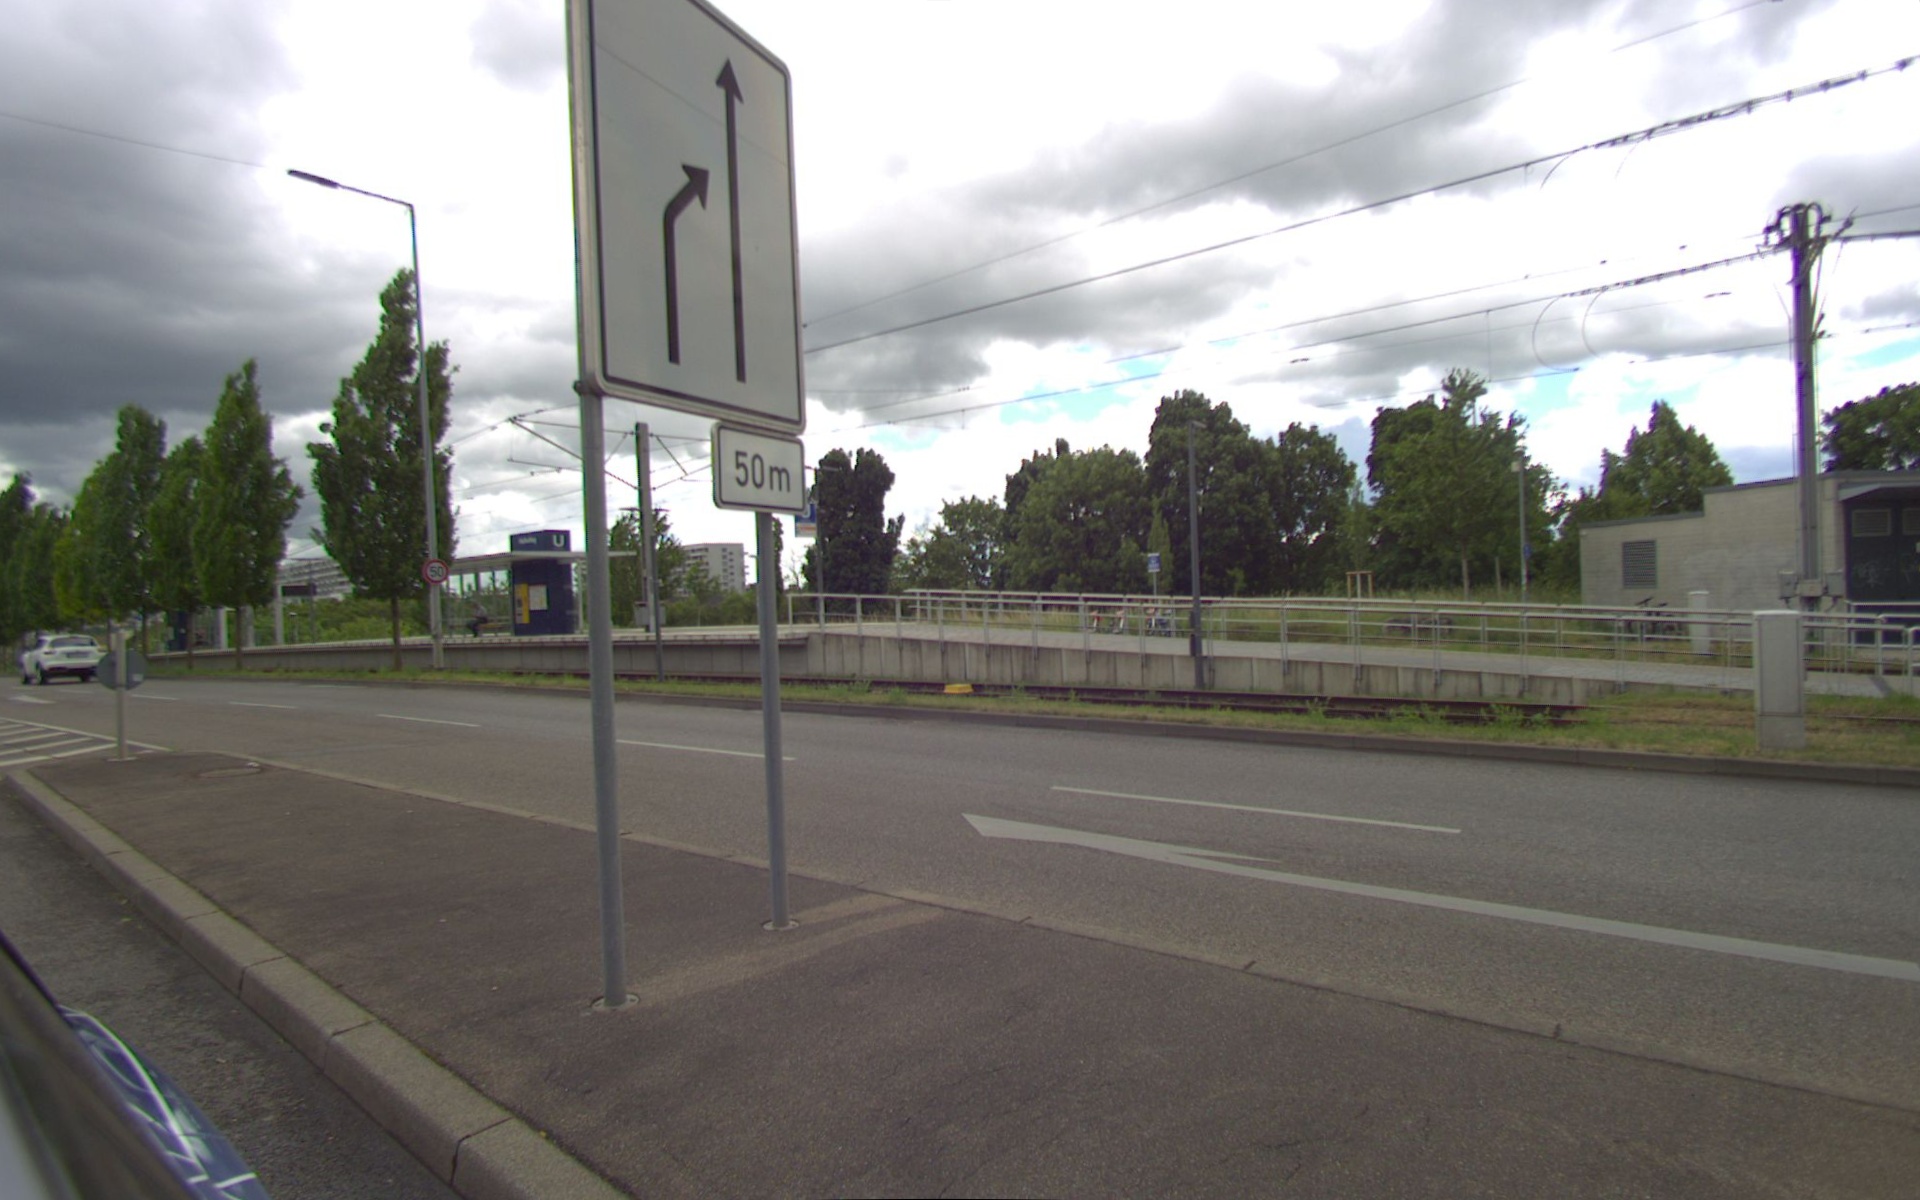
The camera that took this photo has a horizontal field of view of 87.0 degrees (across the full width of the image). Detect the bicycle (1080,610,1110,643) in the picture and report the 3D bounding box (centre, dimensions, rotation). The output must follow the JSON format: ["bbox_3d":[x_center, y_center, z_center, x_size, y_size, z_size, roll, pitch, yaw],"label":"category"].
[{"bbox_3d":[4.687,0.903,35.157,0.490,1.095,1.466,-2,-1,30],"label":"bicycle"}]

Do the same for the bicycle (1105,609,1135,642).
[{"bbox_3d":[5.444,0.869,34.456,0.490,1.095,1.466,-2,-1,30],"label":"bicycle"}]

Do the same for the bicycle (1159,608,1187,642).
[{"bbox_3d":[7.050,0.817,33.464,0.490,1.095,1.466,-2,-1,30],"label":"bicycle"}]

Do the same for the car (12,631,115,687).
[{"bbox_3d":[-29.125,1.926,32.826,4.420,1.641,1.811,-4,-2,39],"label":"car"}]

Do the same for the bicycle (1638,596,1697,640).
[{"bbox_3d":[18.198,0.458,26.055,0.486,1.095,1.480,-1,-1,3],"label":"bicycle"}]

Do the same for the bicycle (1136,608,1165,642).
[{"bbox_3d":[6.384,0.818,33.944,0.490,1.095,1.466,-2,-1,30],"label":"bicycle"}]

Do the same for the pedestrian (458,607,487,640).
[{"bbox_3d":[-18.246,0.881,37.872,0.781,1.211,0.656,-2,-1,33],"label":"pedestrian"}]
